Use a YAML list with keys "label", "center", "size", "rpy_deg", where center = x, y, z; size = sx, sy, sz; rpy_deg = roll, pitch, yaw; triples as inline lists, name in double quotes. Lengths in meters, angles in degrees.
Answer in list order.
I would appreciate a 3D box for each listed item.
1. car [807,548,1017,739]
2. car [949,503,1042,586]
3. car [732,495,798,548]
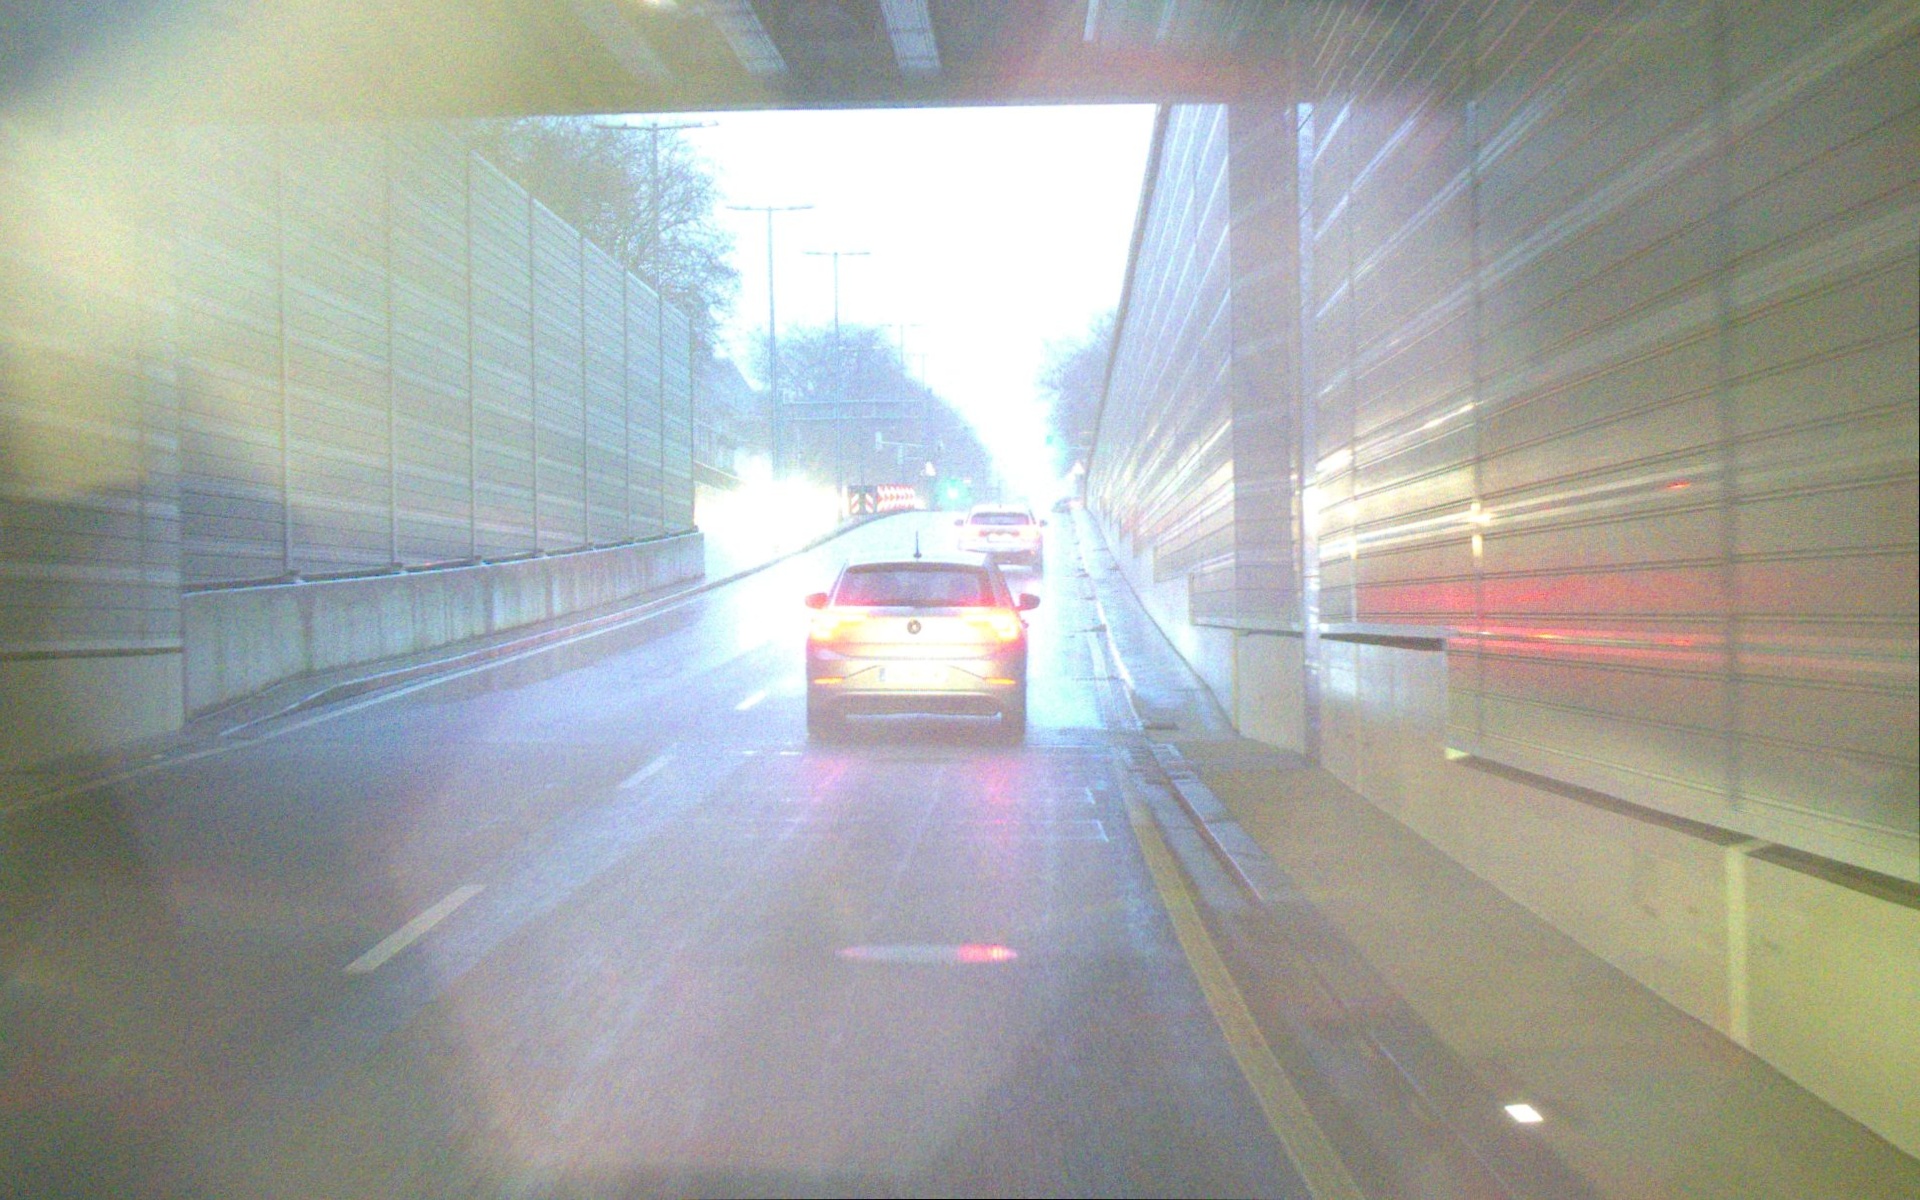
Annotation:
- label: "car"
  center: [-0.336, 0.317, 27.837]
  size: [1.532, 1.392, 3.434]
  rpy_deg: [2, 0, 1]
- label: "car"
  center: [0.743, -1.183, 74.794]
  size: [1.880, 1.615, 4.000]
  rpy_deg: [2, -1, 0]
- label: "car"
  center: [-6.669, -2.688, 117.924]
  size: [1.880, 1.615, 4.000]
  rpy_deg: [2, -1, 2]
